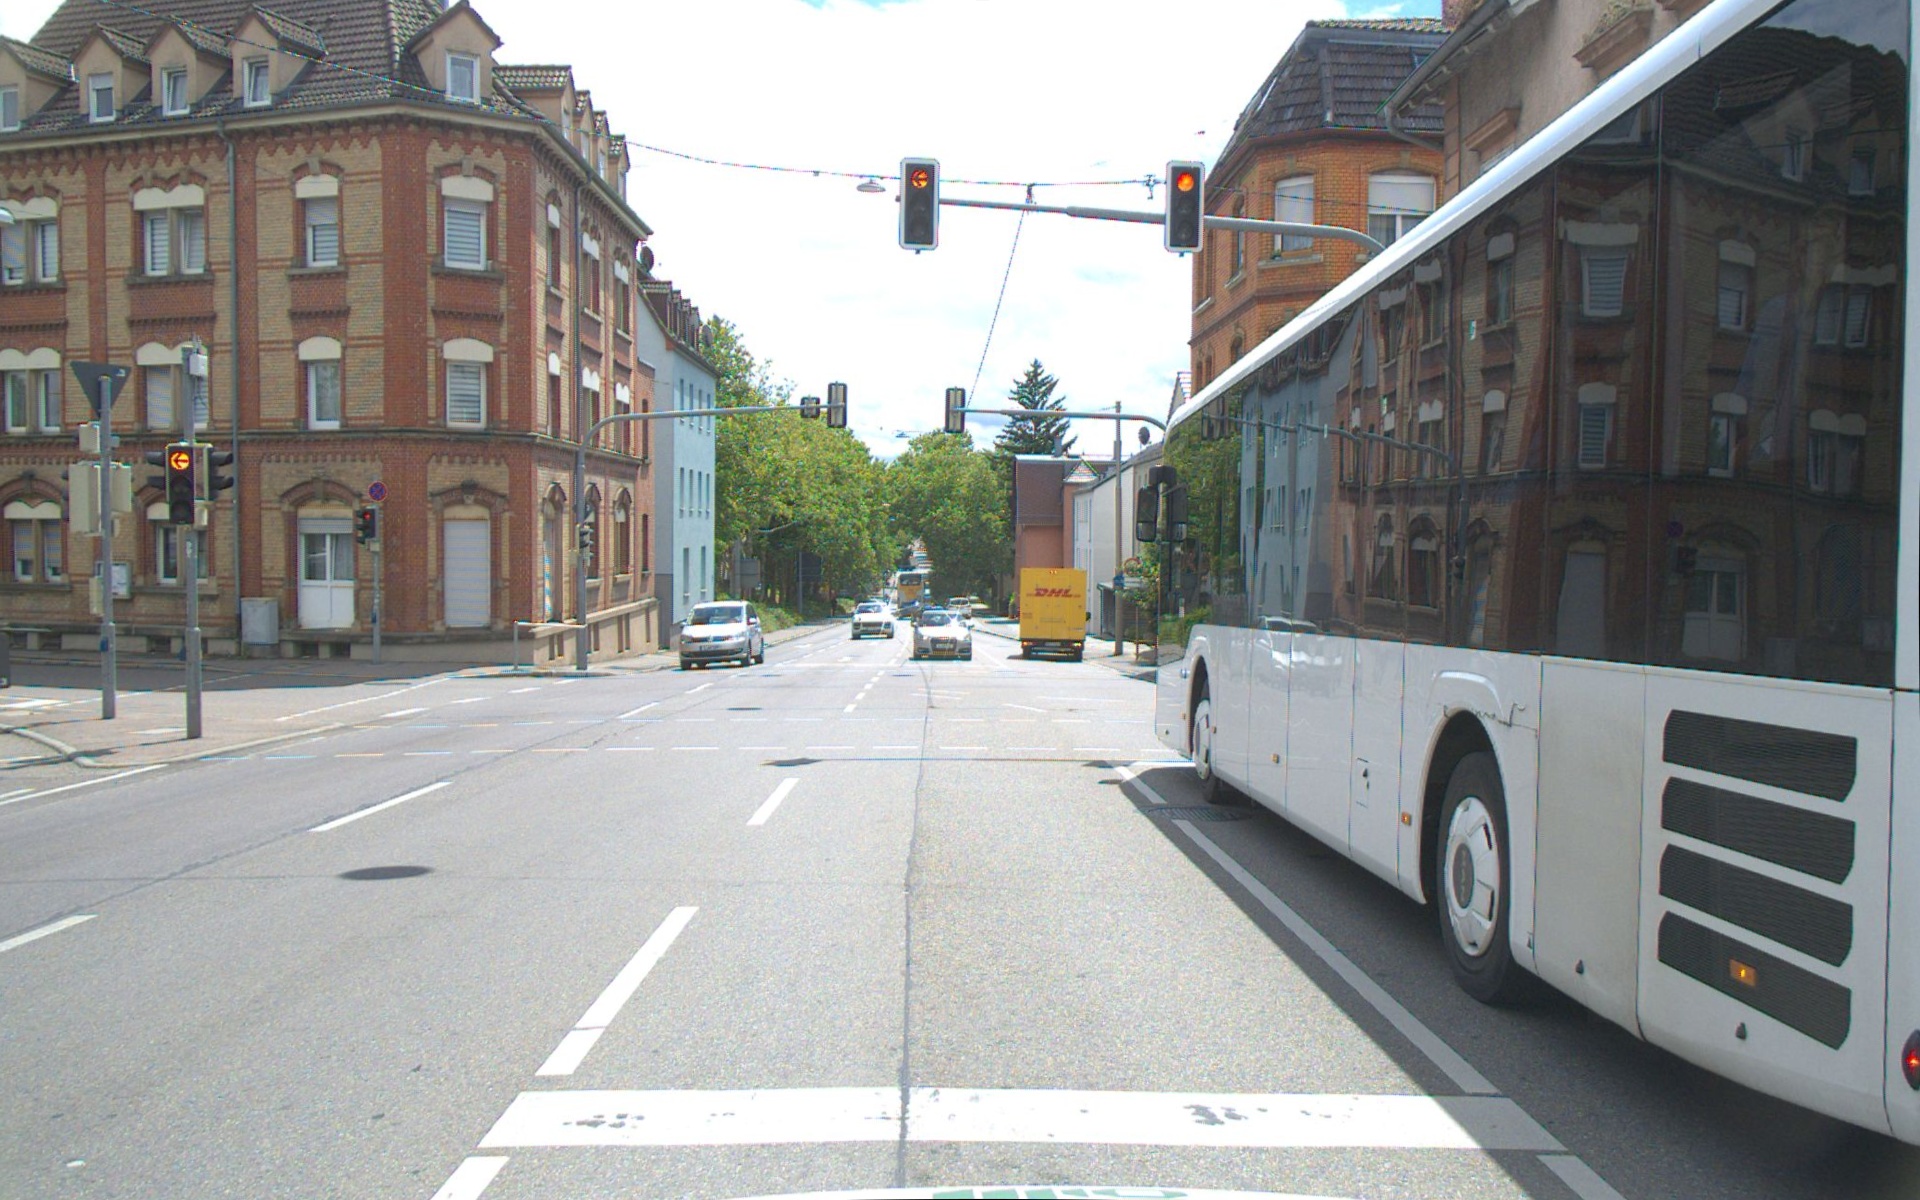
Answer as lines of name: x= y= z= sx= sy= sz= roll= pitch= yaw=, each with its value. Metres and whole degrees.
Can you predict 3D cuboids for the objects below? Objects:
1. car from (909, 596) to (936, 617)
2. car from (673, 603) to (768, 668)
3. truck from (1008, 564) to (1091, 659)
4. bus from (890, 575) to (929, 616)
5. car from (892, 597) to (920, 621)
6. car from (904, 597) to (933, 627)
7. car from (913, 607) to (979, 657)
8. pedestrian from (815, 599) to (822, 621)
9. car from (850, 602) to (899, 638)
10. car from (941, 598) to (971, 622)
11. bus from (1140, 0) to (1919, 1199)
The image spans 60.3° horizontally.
car: x=-2.617 y=0.427 z=115.282 sx=1.827 sy=1.391 sz=4.546 roll=0 pitch=0 yaw=-1
car: x=-6.185 y=0.888 z=43.213 sx=1.896 sy=1.591 sz=4.388 roll=0 pitch=0 yaw=-1
truck: x=3.077 y=0.378 z=55.401 sx=2.487 sy=2.964 sz=6.576 roll=1 pitch=0 yaw=5
bus: x=-4.869 y=-0.462 z=155.923 sx=3.235 sy=3.694 sz=11.235 roll=-1 pitch=0 yaw=-4
car: x=-4.215 y=0.686 z=129.516 sx=2.050 sy=1.862 sz=4.139 roll=0 pitch=0 yaw=-4
car: x=-2.575 y=0.705 z=103.270 sx=1.782 sy=1.816 sz=3.999 roll=0 pitch=0 yaw=-1
car: x=-0.429 y=0.911 z=48.823 sx=1.827 sy=1.391 sz=4.546 roll=0 pitch=0 yaw=-1
pedestrian: x=-11.671 y=0.845 z=136.358 sx=0.594 sy=1.789 sz=0.653 roll=0 pitch=0 yaw=-2
car: x=-4.047 y=0.914 z=79.203 sx=2.162 sy=1.641 sz=4.546 roll=0 pitch=0 yaw=-1
car: x=-0.312 y=0.757 z=129.584 sx=2.050 sy=1.862 sz=4.139 roll=0 pitch=0 yaw=-4
bus: x=3.237 y=-0.291 z=9.349 sx=2.845 sy=3.571 sz=12.484 roll=1 pitch=0 yaw=-1
